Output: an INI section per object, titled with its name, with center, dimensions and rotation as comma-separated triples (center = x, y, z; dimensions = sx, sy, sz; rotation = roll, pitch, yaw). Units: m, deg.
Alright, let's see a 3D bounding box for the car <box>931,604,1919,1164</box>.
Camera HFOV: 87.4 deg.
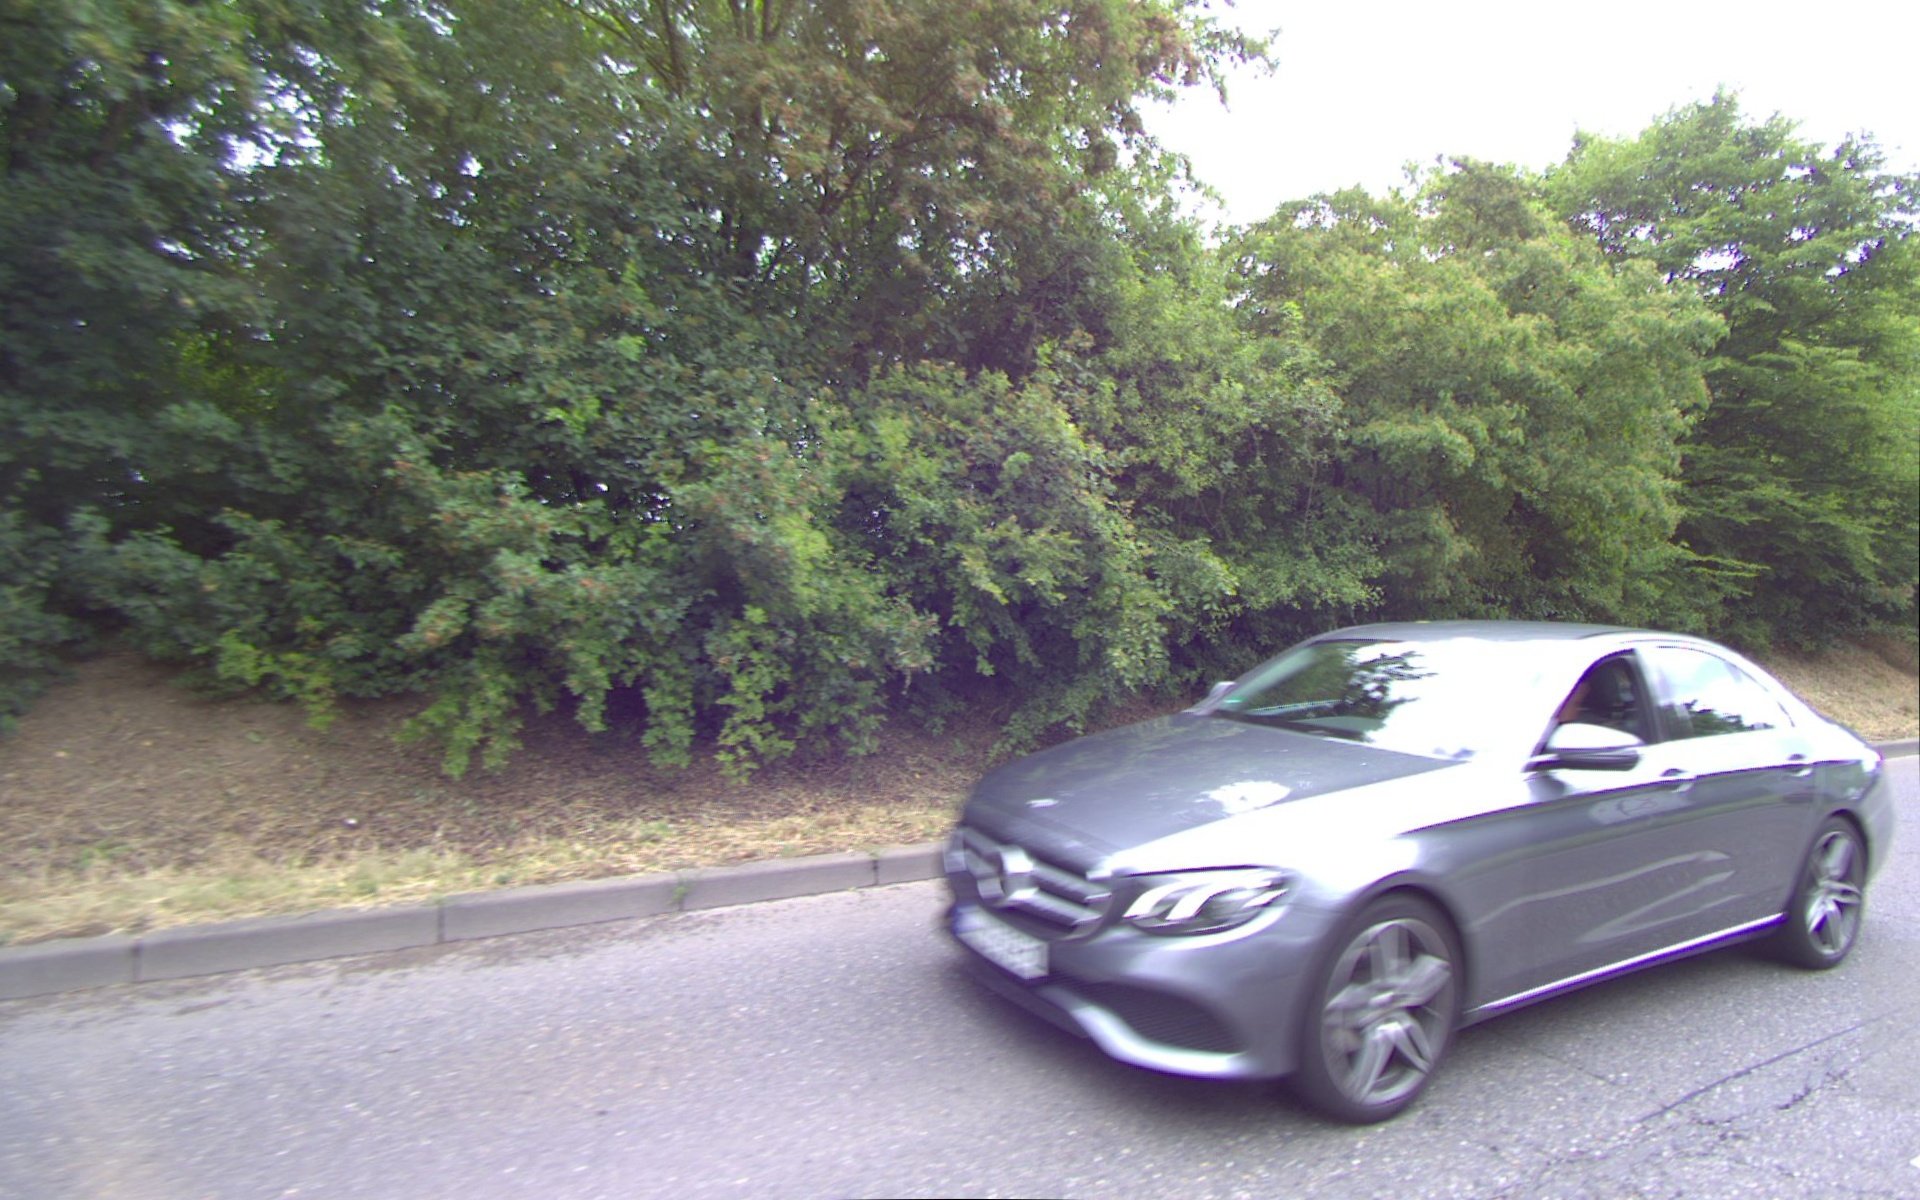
[car]
center = 2.234, 0.790, 4.468
dimensions = 4.378, 1.424, 1.823
rotation = 2, 0, -29
